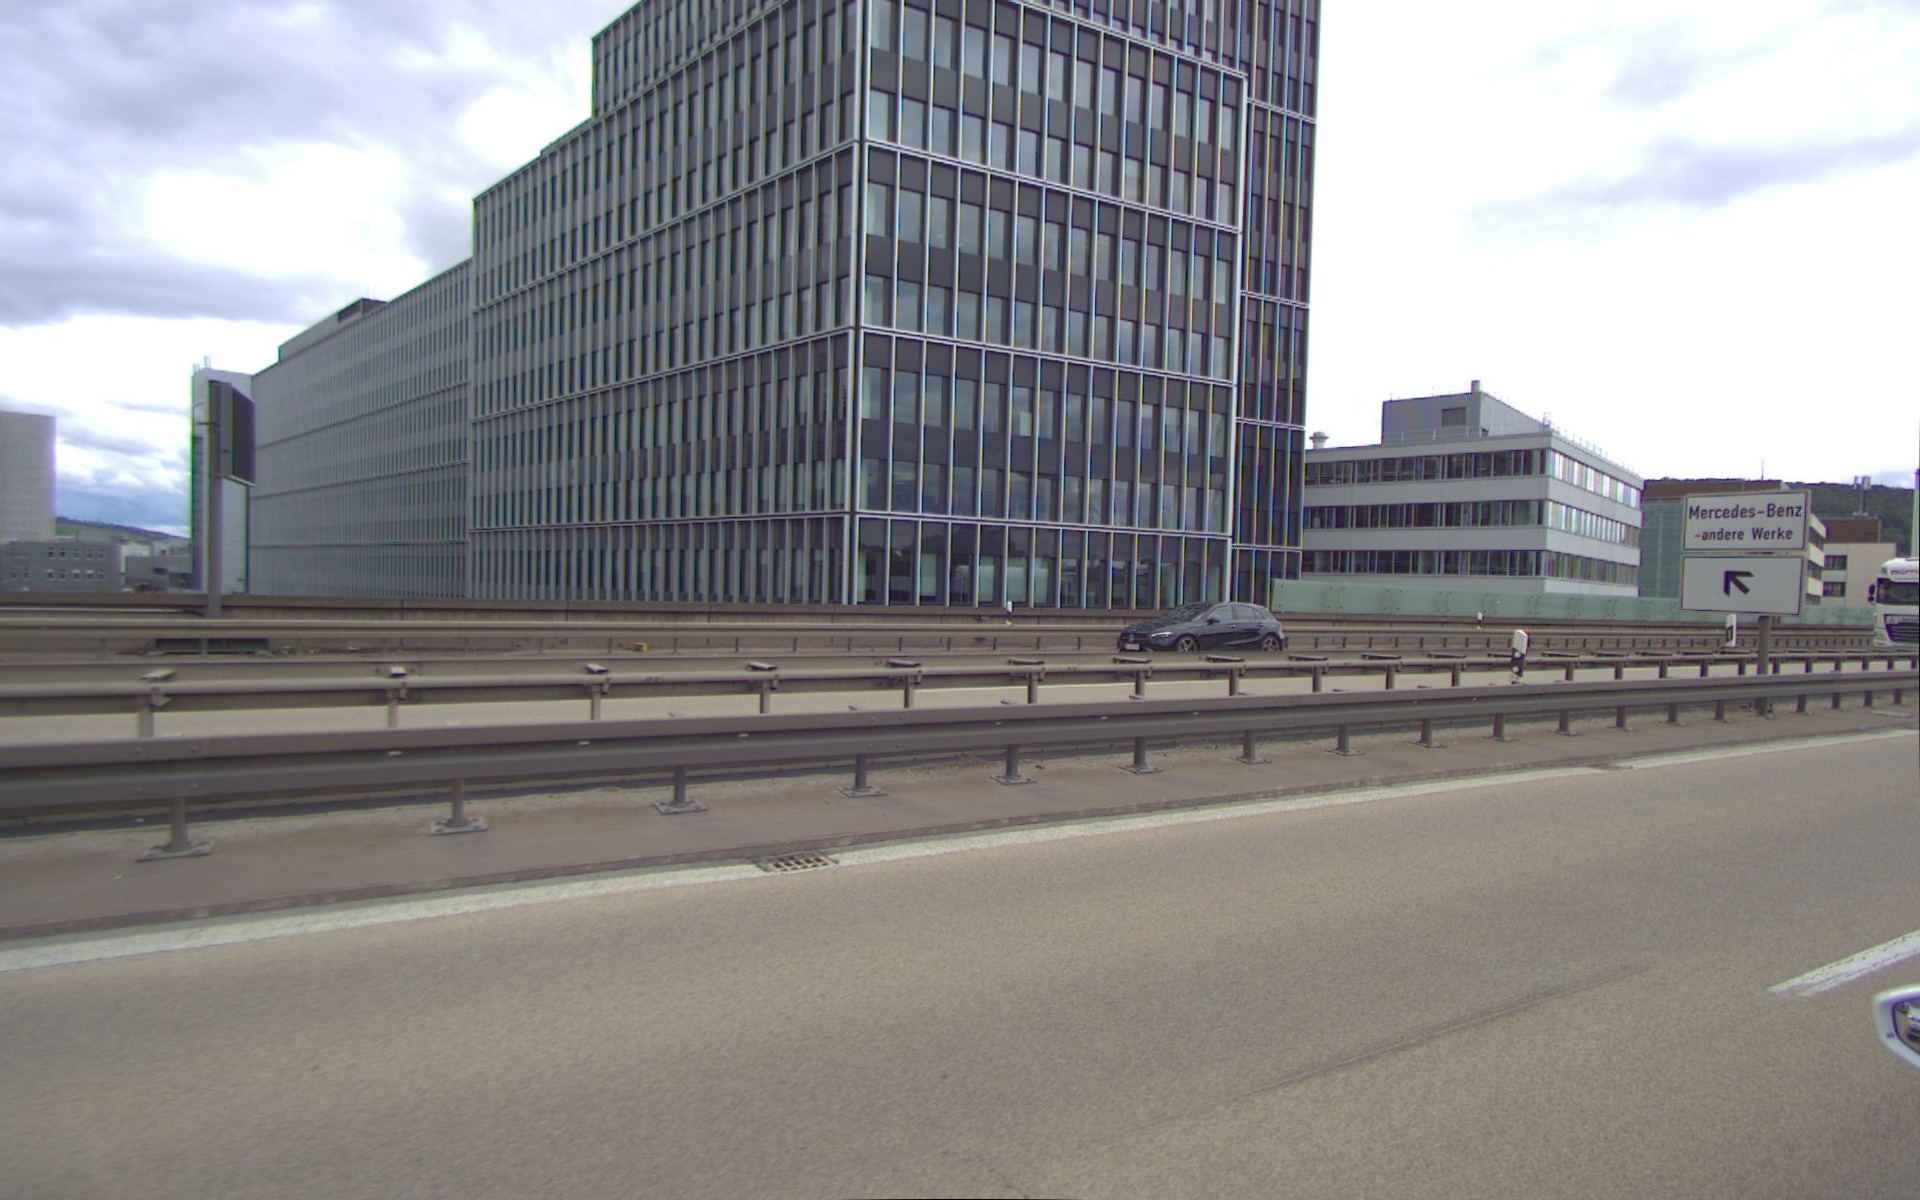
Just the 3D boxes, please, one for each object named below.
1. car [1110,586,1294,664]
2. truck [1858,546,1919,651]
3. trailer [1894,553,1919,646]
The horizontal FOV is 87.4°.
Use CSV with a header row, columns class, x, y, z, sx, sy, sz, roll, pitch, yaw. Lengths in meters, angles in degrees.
class,x,y,z,sx,sy,sz,roll,pitch,yaw
car,5.776,0.605,23.763,4.312,1.672,1.673,2,0,-32
truck,40.004,0.022,41.589,5.584,4.133,2.757,2,-1,-32
trailer,46.735,0.166,46.033,11.755,4.040,2.829,2,-1,-32
